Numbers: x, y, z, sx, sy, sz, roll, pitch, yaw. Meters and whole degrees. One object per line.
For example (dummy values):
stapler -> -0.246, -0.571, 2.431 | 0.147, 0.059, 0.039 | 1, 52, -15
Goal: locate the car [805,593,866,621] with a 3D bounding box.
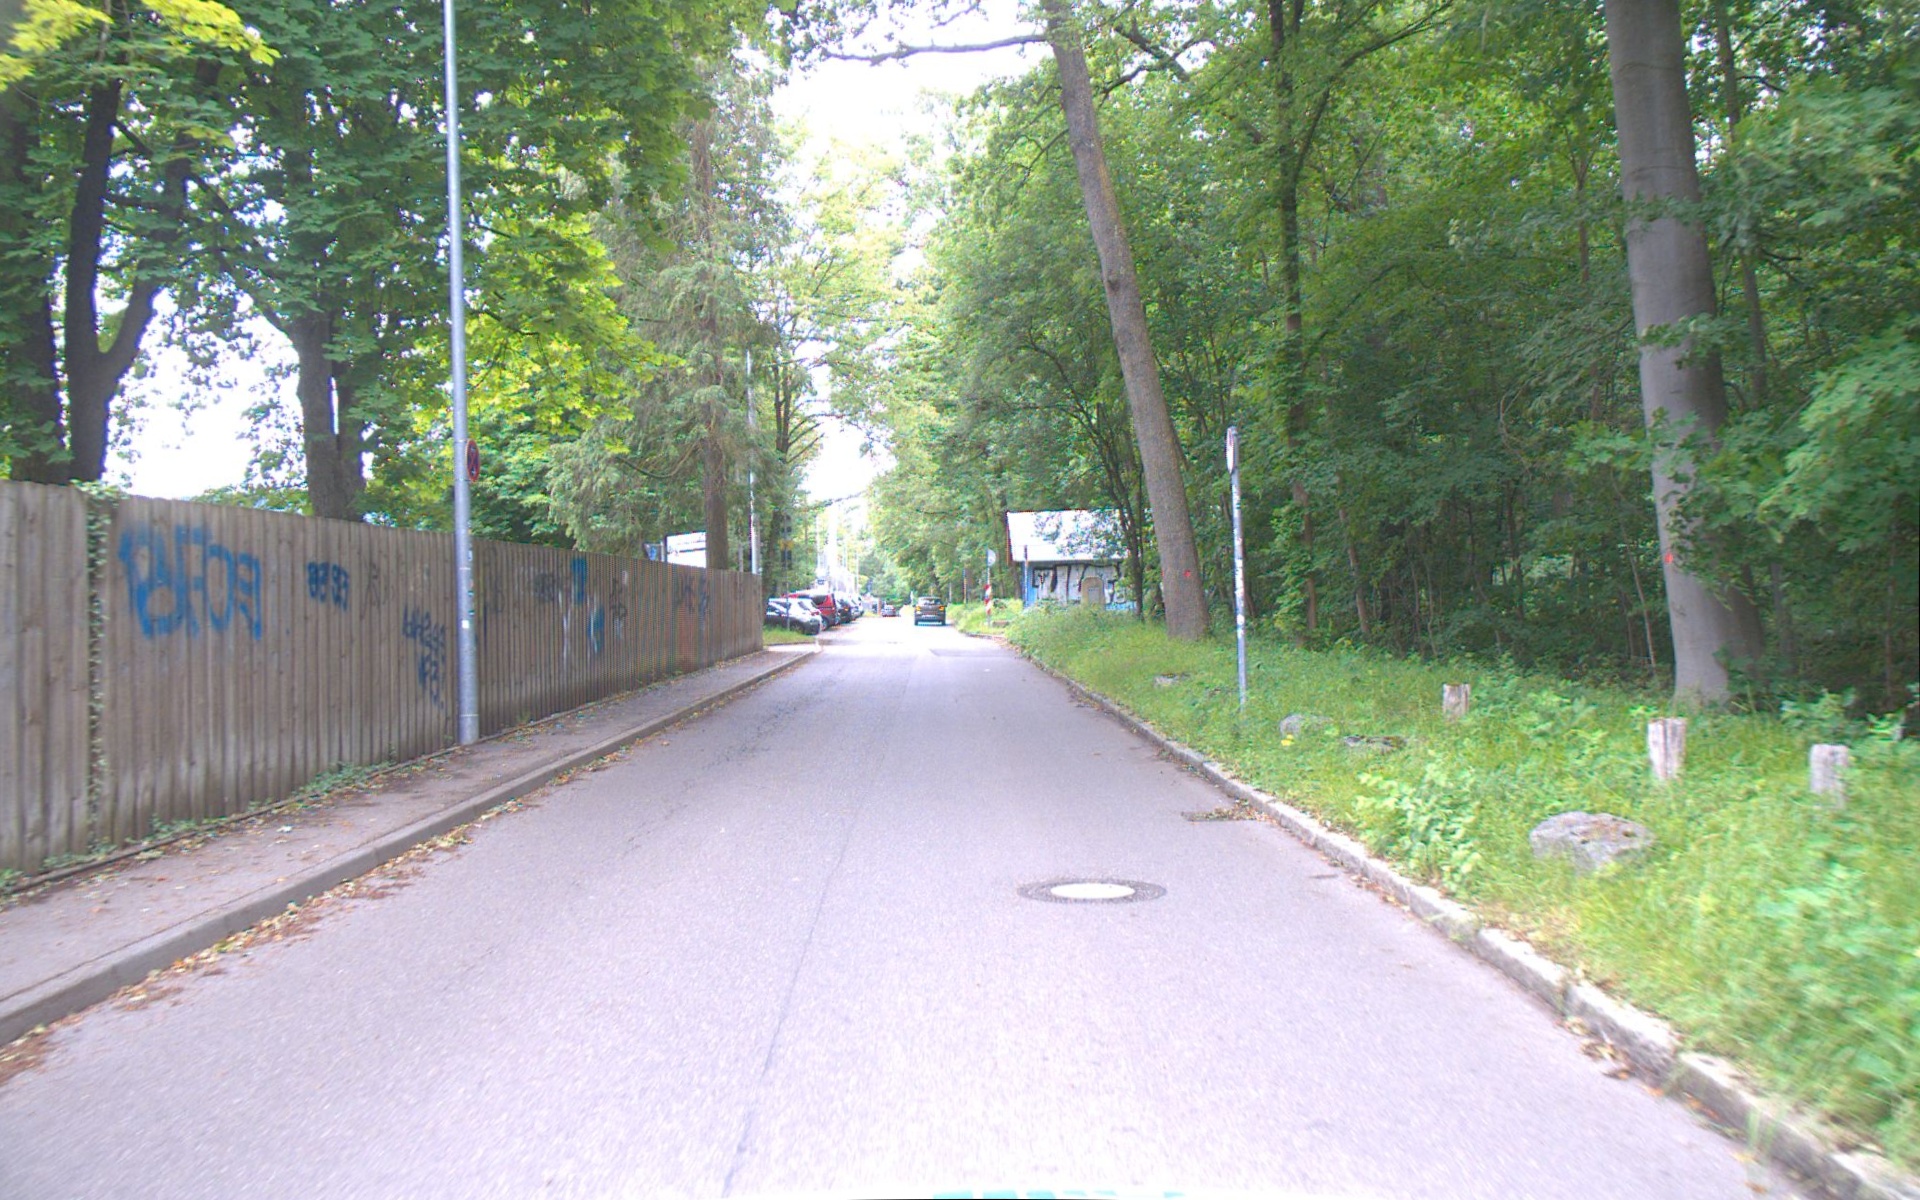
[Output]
car -> -8.454, 0.469, 112.419 | 3.907, 1.623, 1.764 | -4, -1, -2

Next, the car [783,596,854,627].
car -> -7.376, 0.587, 86.301 | 3.500, 1.432, 1.649 | -2, -1, -1

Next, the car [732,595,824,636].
car -> -7.963, 0.665, 72.577 | 3.909, 1.601, 1.998 | -2, 0, -5

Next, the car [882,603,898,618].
car -> -9.773, 1.459, 230.025 | 1.956, 2.049, 3.994 | -2, 0, -7

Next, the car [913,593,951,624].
car -> -1.447, 0.445, 86.621 | 1.869, 1.534, 4.000 | 0, 0, 0

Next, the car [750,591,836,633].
car -> -7.820, 0.564, 77.658 | 3.909, 1.780, 1.998 | -2, 0, -5

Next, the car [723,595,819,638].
car -> -7.910, 0.676, 69.487 | 3.909, 1.601, 1.998 | -2, 0, -5
